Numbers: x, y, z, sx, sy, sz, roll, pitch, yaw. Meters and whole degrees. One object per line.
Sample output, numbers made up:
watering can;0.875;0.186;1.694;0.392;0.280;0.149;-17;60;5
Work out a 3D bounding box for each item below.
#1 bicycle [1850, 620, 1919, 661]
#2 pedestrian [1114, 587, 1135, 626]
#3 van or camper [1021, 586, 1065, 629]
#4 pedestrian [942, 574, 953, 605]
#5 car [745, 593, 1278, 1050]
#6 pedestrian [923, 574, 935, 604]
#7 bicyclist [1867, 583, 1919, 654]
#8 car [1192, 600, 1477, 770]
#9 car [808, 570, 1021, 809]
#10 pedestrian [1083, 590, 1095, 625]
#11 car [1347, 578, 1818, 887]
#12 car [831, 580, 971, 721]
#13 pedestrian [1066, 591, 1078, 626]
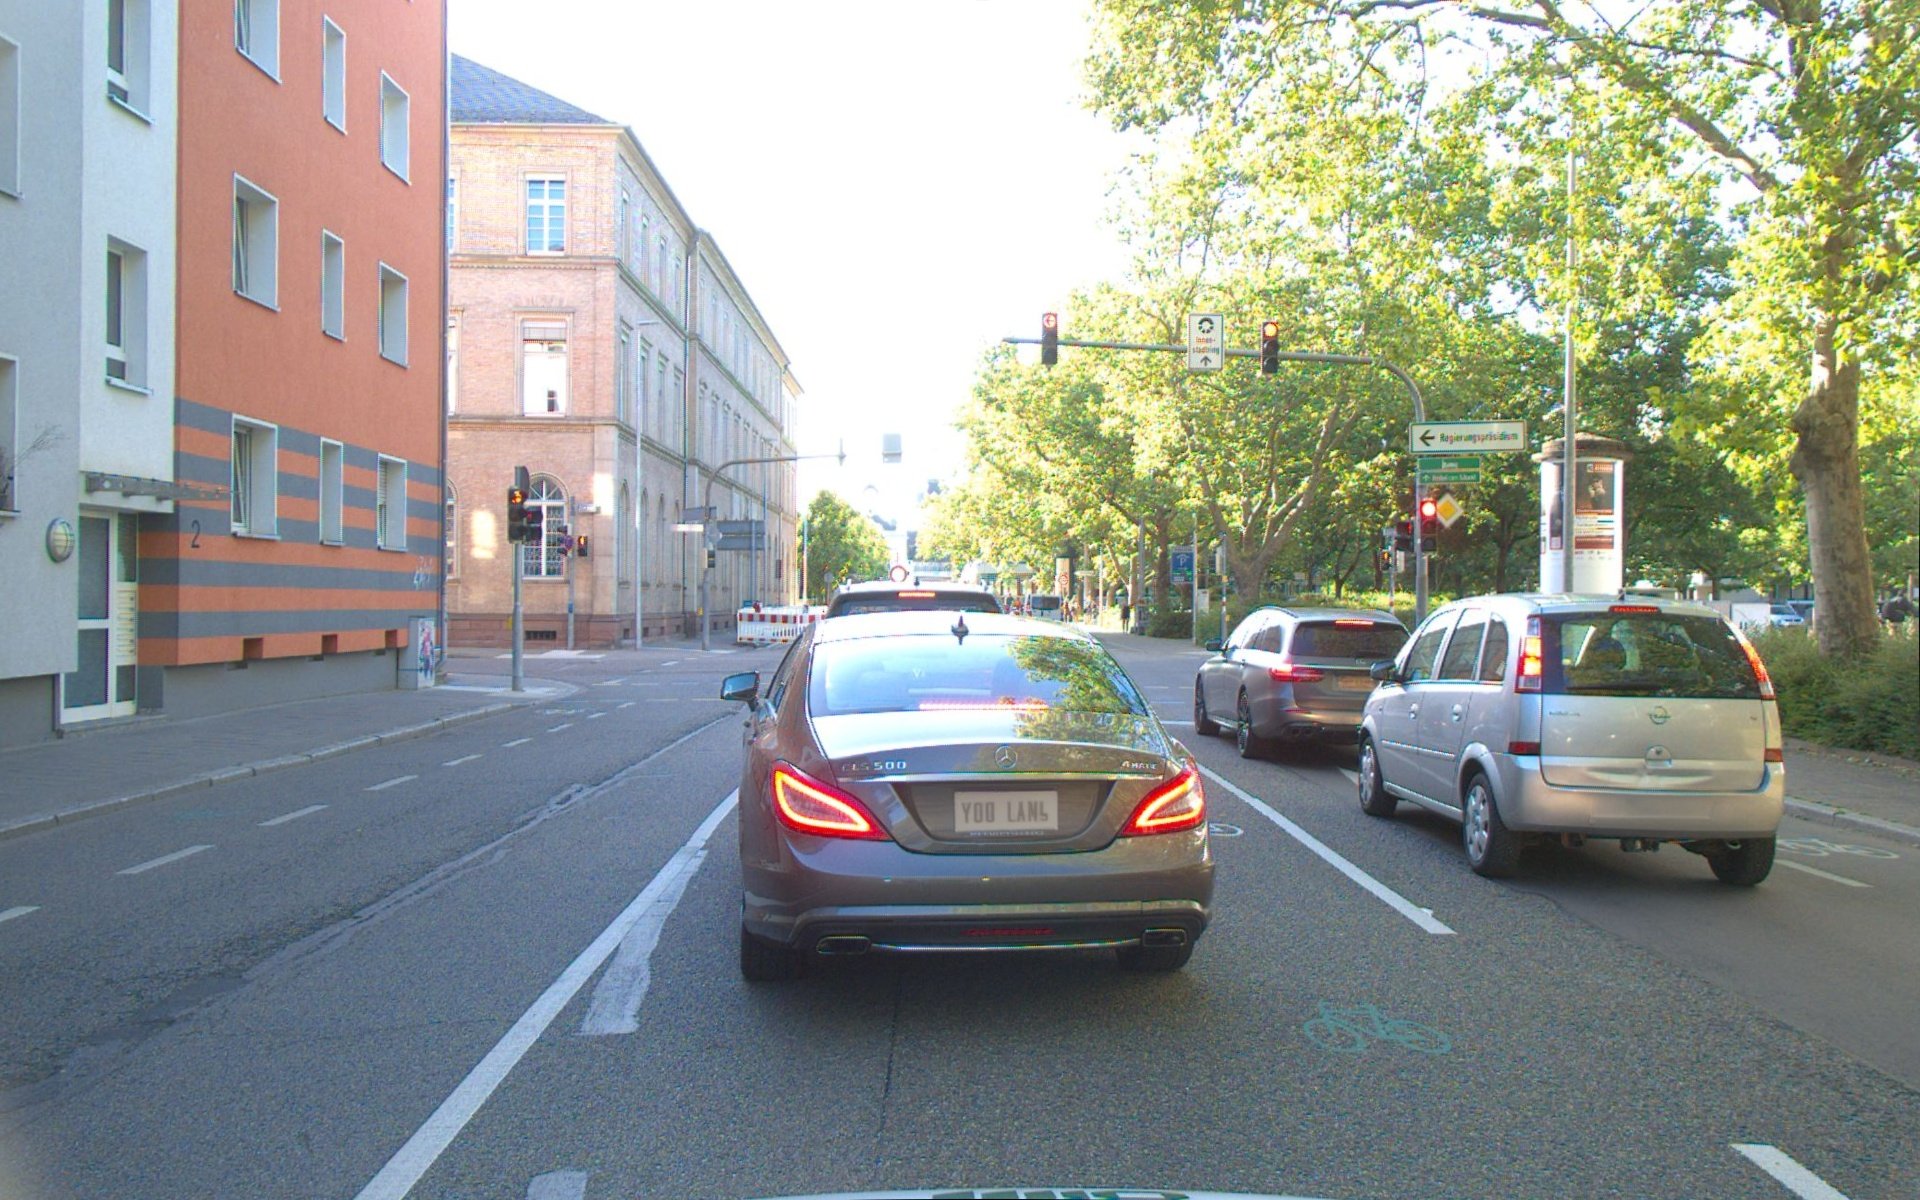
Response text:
bicycle;22.416;0.978;39.752;1.760;0.963;0.613;1;0;-7
pedestrian;7.100;0.279;71.289;0.813;1.634;0.651;1;0;-1
van or camper;4.008;0.349;80.562;1.953;1.975;4.594;0;0;0
pedestrian;-0.847;-0.708;111.441;0.710;2.049;0.748;0;0;-5
car;-0.086;0.718;7.653;1.769;1.482;4.343;0;0;-8
pedestrian;-2.098;-0.728;111.782;0.710;2.049;0.748;0;0;-5
bicyclist;22.472;0.437;39.767;0.995;1.671;0.607;1;0;-7
car;3.761;0.781;17.493;1.874;1.490;4.668;1;0;-1
car;-0.415;0.631;13.657;1.487;1.675;3.878;1;0;-3
pedestrian;6.982;0.411;89.377;0.591;1.853;0.651;1;0;-1
car;3.771;0.699;10.747;1.666;1.631;3.860;0;0;1
car;-0.784;0.645;23.227;1.783;1.793;3.999;0;0;-1
pedestrian;6.079;0.468;89.520;0.591;1.853;0.651;0;0;-1
